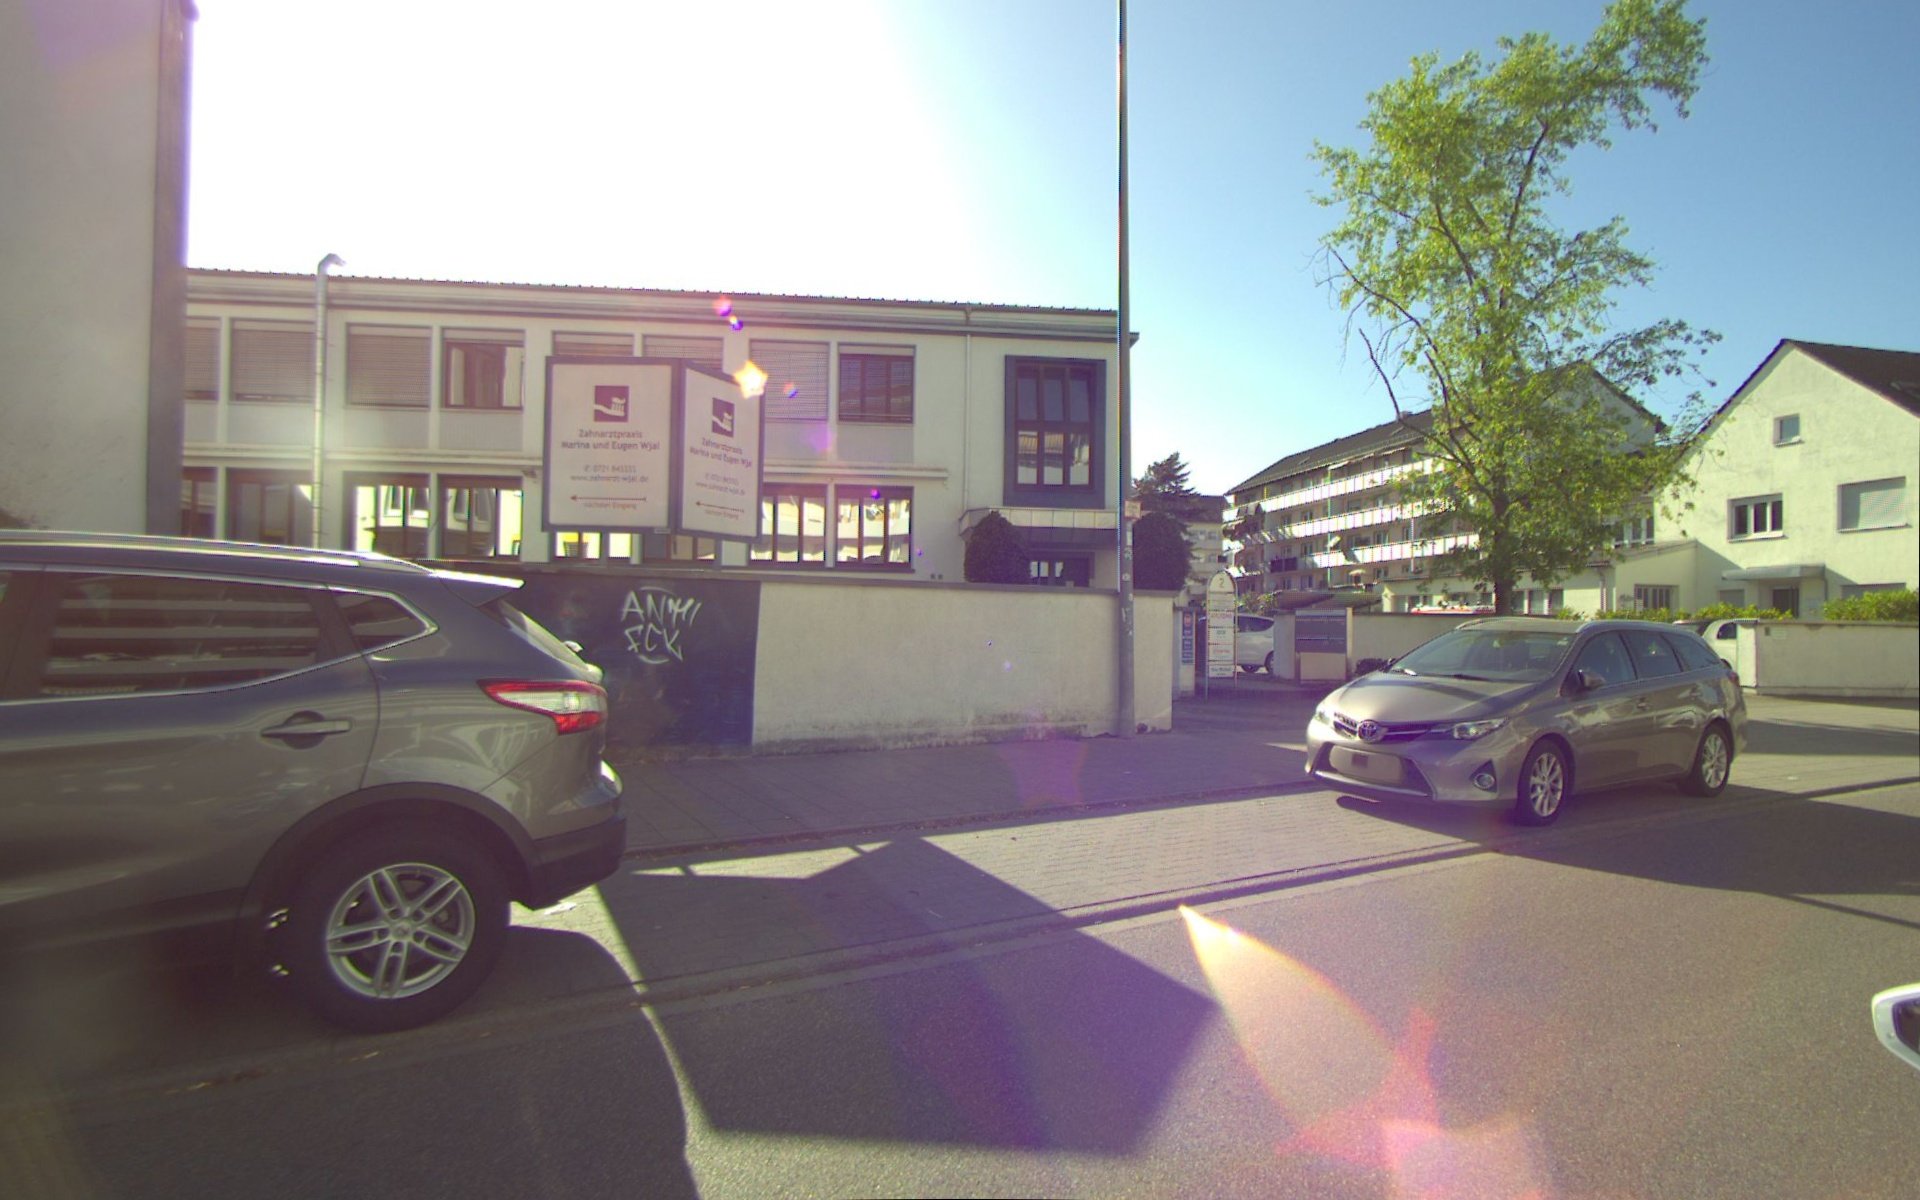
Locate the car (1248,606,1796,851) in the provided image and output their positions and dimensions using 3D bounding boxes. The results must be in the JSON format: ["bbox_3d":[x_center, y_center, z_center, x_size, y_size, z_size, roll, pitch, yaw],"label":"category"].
[{"bbox_3d":[4.890,0.876,8.520,4.863,1.555,1.983,1,-1,-32],"label":"car"}]

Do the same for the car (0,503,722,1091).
[{"bbox_3d":[-3.203,0.544,3.404,4.369,1.607,1.712,1,-1,-30],"label":"car"}]

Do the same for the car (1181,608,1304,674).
[{"bbox_3d":[7.368,1.104,26.314,2.585,1.528,1.735,3,-4,-12],"label":"car"}]

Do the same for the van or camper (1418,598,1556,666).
[{"bbox_3d":[20.545,1.307,39.482,2.111,2.429,5.229,2,-3,-9],"label":"van or camper"}]

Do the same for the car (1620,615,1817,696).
[{"bbox_3d":[16.793,1.221,22.317,3.130,1.576,1.804,3,-2,-7],"label":"car"}]
